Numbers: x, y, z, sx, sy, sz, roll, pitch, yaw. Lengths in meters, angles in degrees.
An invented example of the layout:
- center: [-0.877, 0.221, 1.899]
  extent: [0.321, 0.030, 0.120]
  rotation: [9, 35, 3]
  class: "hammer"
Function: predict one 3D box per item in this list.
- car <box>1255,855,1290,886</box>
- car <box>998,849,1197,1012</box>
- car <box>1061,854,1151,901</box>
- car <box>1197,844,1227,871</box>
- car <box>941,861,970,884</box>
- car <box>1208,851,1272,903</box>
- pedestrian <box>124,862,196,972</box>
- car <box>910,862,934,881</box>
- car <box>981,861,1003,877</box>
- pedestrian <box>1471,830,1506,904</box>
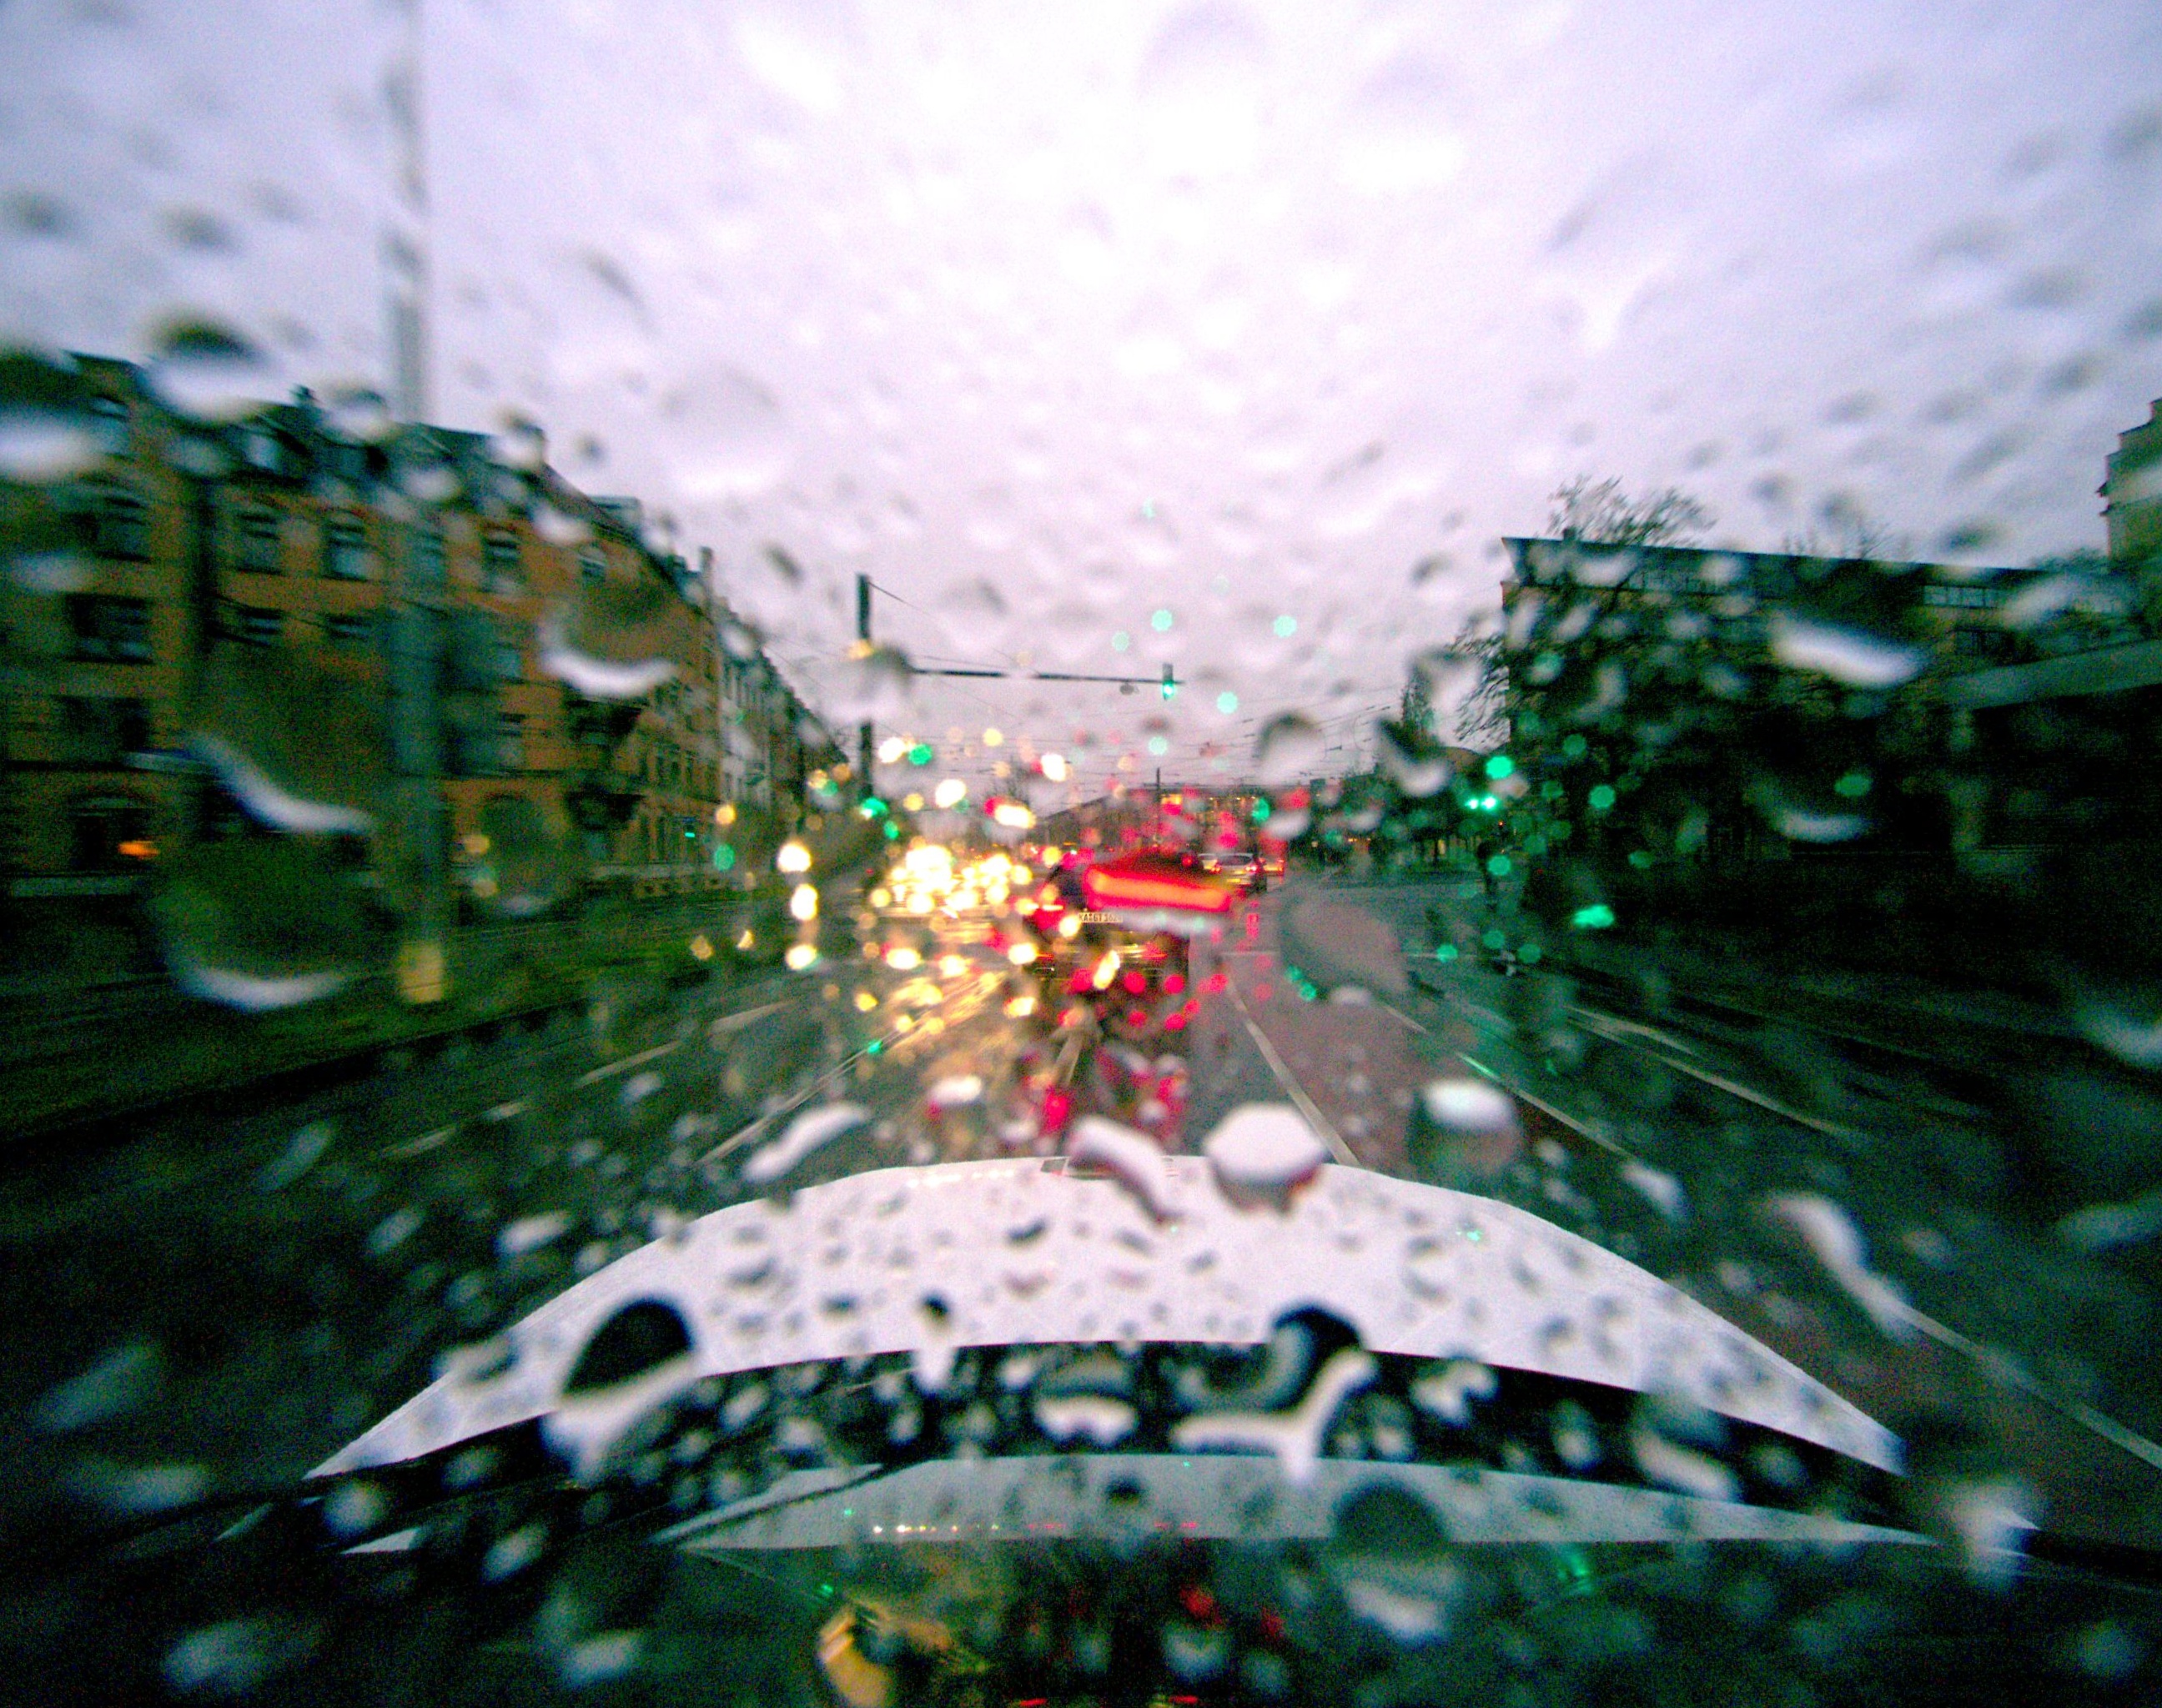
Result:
- center: [11.885, 1.009, 50.659]
  extent: [1.980, 1.765, 4.014]
  rotation: [-2, 0, 12]
  class: "car"
- center: [0.266, 0.780, 10.289]
  extent: [1.983, 1.616, 4.003]
  rotation: [-1, 0, 3]
  class: "car"
- center: [0.937, 0.750, 27.652]
  extent: [1.978, 1.398, 4.018]
  rotation: [-2, 0, 17]
  class: "car"
- center: [9.232, 0.222, 57.146]
  extent: [1.981, 1.765, 4.011]
  rotation: [-1, 0, 10]
  class: "car"
- center: [-8.498, 1.260, 55.441]
  extent: [1.678, 1.457, 4.054]
  rotation: [-1, 0, -6]
  class: "car"
- center: [5.986, 0.803, 30.350]
  extent: [1.979, 1.765, 4.016]
  rotation: [-2, 0, 15]
  class: "car"
- center: [-15.247, 1.020, 13.490]
  extent: [0.464, 1.772, 0.630]
  rotation: [-1, -1, 10]
  class: "pedestrian"
- center: [-12.106, 1.306, 62.164]
  extent: [1.680, 1.392, 3.602]
  rotation: [-1, 0, -9]
  class: "car"
- center: [-7.990, 1.327, 73.051]
  extent: [1.537, 1.245, 4.071]
  rotation: [-2, 0, -11]
  class: "car"
- center: [10.376, 0.319, 20.769]
  extent: [0.568, 1.838, 0.686]
  rotation: [-4, 1, 16]
  class: "pedestrian"
